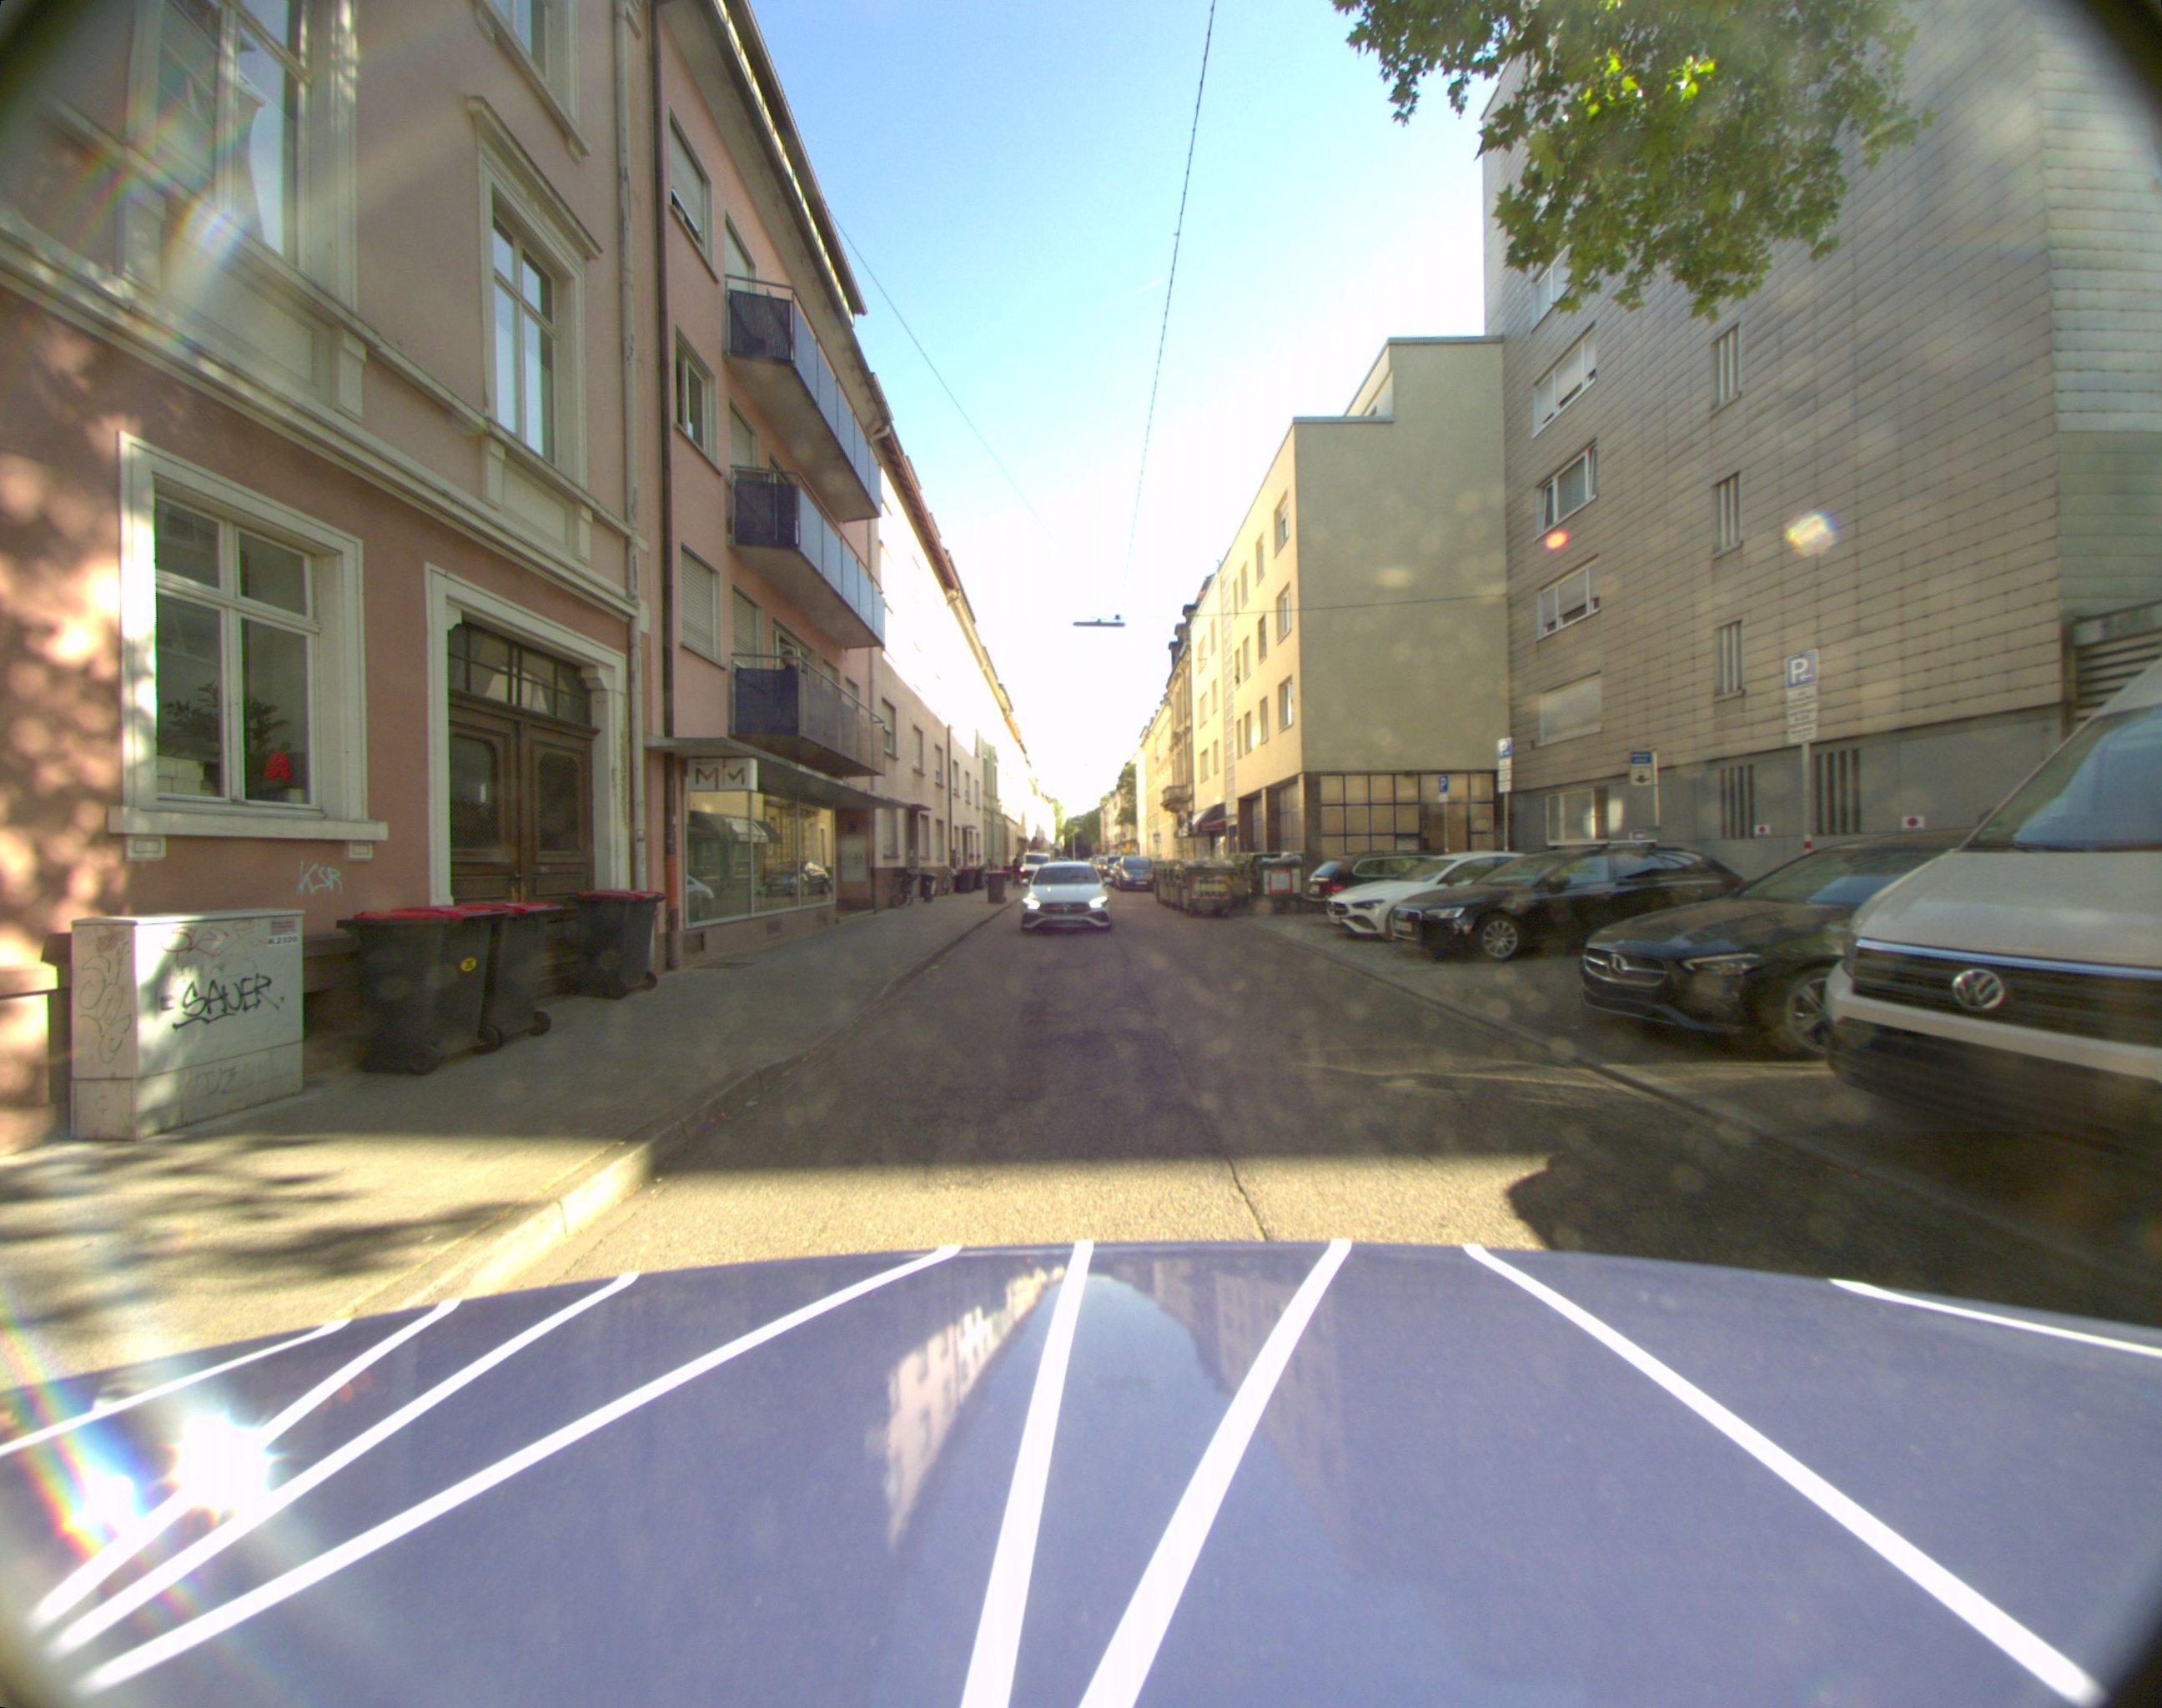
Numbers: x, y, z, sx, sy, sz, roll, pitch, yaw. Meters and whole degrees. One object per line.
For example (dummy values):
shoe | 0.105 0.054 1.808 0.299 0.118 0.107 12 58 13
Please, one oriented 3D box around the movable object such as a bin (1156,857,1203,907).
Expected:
movable object such as a bin | 3.059 0.857 23.759 1.222 1.491 1.560 -1 0 -2

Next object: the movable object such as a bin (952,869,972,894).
movable object such as a bin | -4.879 1.124 31.086 0.717 0.996 0.546 2 0 -2

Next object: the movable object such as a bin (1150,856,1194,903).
movable object such as a bin | 3.006 0.838 25.339 1.222 1.491 1.560 -1 0 -2

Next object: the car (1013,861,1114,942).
car | -0.305 0.935 16.881 1.862 1.448 4.563 -3 0 1

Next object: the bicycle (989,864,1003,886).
bicycle | -4.507 1.084 40.217 0.490 1.089 1.933 -1 0 1

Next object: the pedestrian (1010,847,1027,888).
pedestrian | -3.158 0.668 38.254 0.761 2.002 0.771 -1 0 1

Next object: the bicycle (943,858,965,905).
bicycle | -4.892 1.034 29.354 0.402 1.725 2.107 -1 0 1

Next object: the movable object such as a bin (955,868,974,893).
movable object such as a bin | -4.874 1.108 31.797 0.717 0.996 0.546 2 0 -2

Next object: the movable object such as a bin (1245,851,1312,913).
movable object such as a bin | 4.923 0.687 19.045 1.328 1.491 1.195 -1 0 -2

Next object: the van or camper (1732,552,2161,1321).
van or camper | 7.029 0.054 3.044 6.922 2.559 2.000 -4 0 1

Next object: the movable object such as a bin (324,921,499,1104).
movable object such as a bin | -4.432 1.021 5.073 0.570 1.078 0.654 2 0 -1

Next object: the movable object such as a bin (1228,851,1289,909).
movable object such as a bin | 4.754 0.679 20.445 1.222 1.491 1.517 -1 0 -2

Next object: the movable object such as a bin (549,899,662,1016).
movable object such as a bin | -4.746 1.014 7.625 0.718 1.078 0.618 2 0 -1

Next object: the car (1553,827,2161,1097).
car | 6.330 0.674 5.745 4.415 1.524 1.699 -3 0 -1

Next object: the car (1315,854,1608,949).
car | 6.564 0.780 13.337 4.417 1.454 1.599 -1 0 -6

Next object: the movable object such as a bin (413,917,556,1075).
movable object such as a bin | -4.439 1.034 5.692 0.570 1.052 0.612 2 0 -1

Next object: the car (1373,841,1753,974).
car | 6.669 0.681 10.749 4.417 1.607 1.698 -1 0 -6

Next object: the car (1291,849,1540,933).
car | 6.781 0.725 15.638 4.417 1.524 1.698 -1 0 -6

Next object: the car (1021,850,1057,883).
car | -2.459 0.736 45.312 1.765 1.843 4.328 -1 0 1

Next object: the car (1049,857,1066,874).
car | -2.547 1.253 83.559 1.765 1.698 4.327 -1 0 0

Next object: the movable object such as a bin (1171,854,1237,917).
movable object such as a bin | 3.145 0.776 19.669 1.241 1.491 1.877 -2 0 -3

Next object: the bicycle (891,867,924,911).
bicycle | -4.854 0.958 21.347 0.402 1.143 2.025 -1 0 1

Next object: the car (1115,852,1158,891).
car | 2.561 0.791 35.808 1.765 1.698 4.328 -1 0 1

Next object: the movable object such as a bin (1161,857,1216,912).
movable object such as a bin | 3.083 0.850 22.047 1.247 1.491 1.925 -1 0 -2

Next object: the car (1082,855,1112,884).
car | 0.977 0.907 46.896 1.765 1.698 4.328 -1 0 1

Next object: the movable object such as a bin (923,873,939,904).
movable object such as a bin | -4.734 1.092 23.990 0.416 0.935 0.302 2 0 -2

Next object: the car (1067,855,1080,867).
car | -1.092 1.012 108.828 1.765 1.698 4.327 -1 0 0
